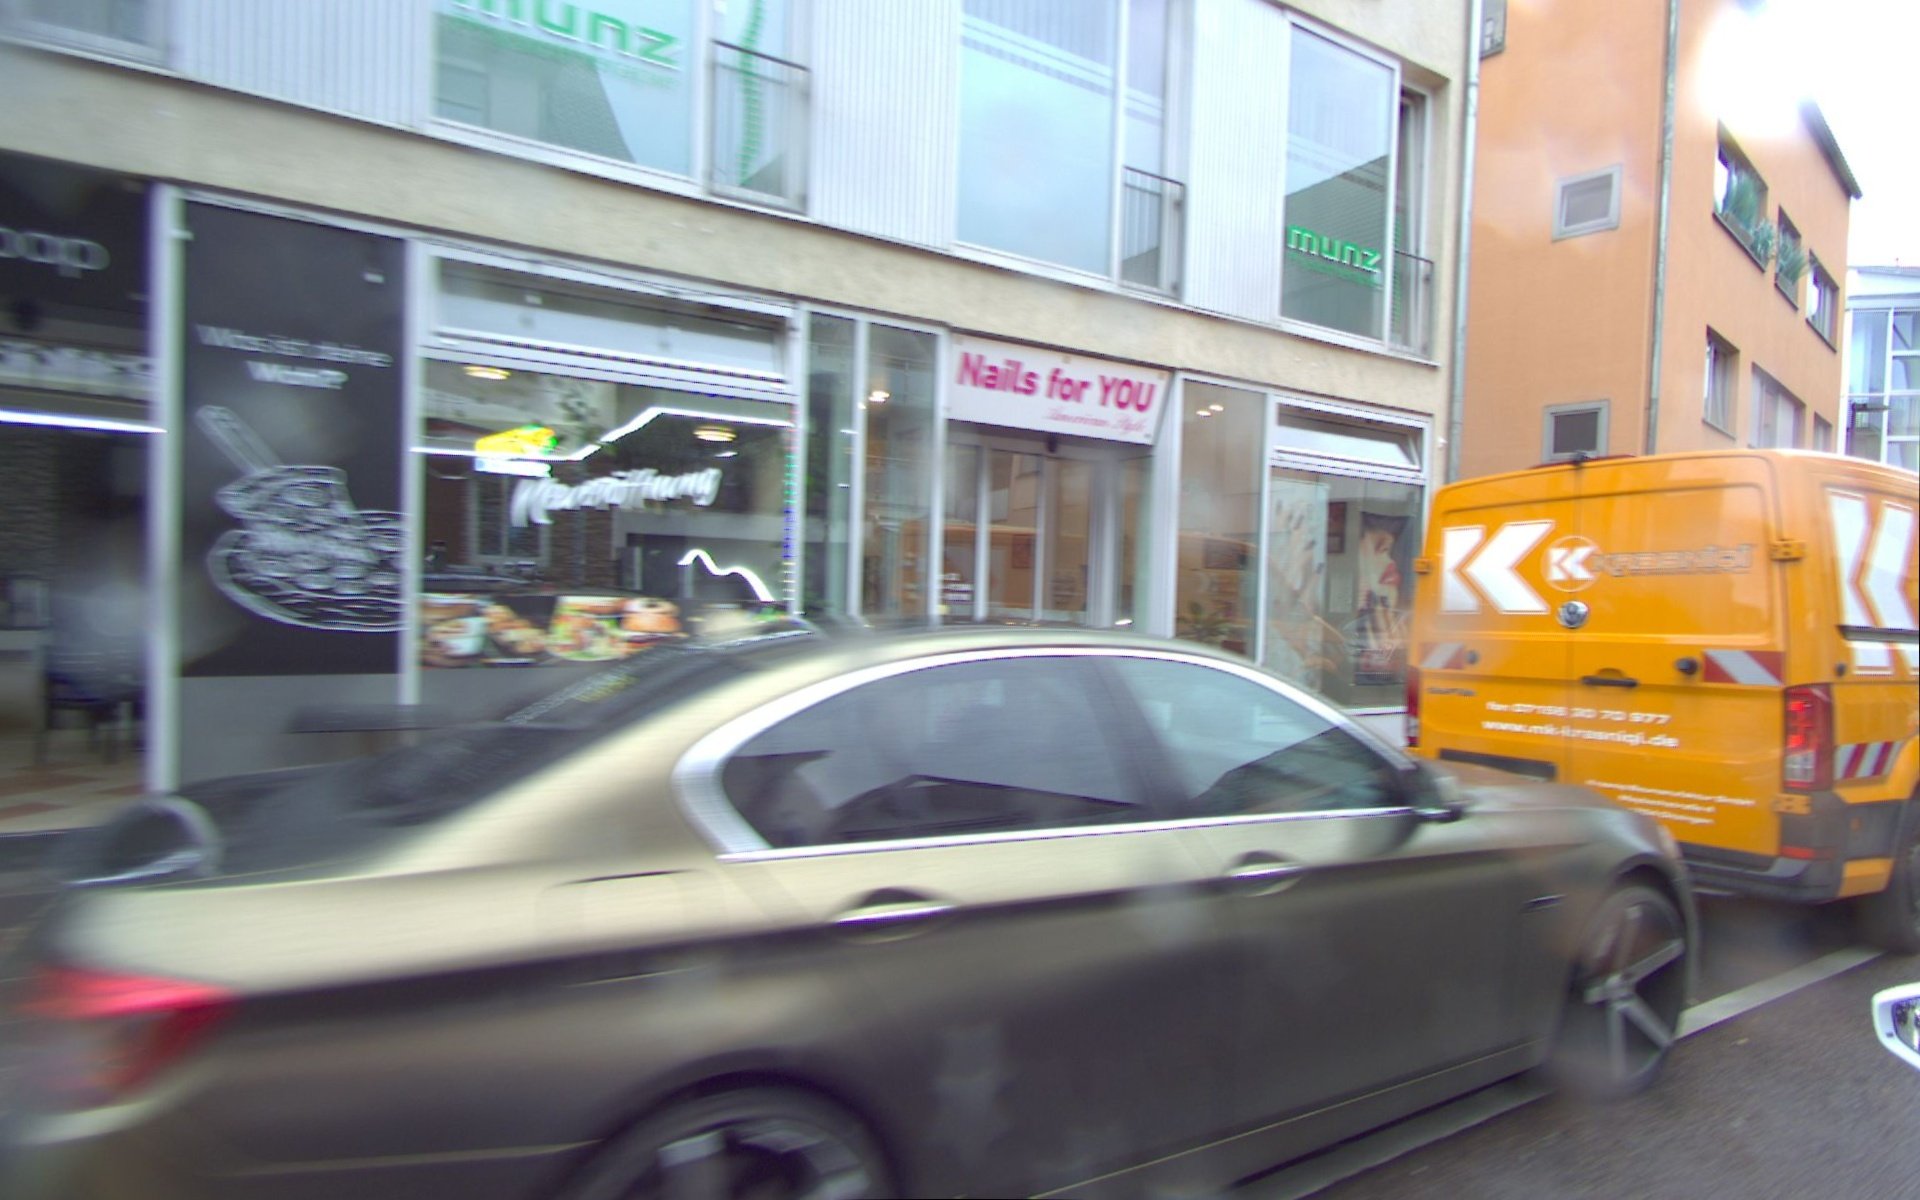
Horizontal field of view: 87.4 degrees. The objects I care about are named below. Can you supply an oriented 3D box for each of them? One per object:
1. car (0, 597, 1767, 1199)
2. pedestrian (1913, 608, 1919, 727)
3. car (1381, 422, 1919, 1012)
[{"bbox_3d":[0.354,0.754,3.070,4.427,1.374,1.748,2,1,-29],"label":"car"},{"bbox_3d":[15.387,1.054,15.359,1.042,1.831,0.664,2,0,-11],"label":"pedestrian"},{"bbox_3d":[5.287,0.506,6.318,5.800,2.269,1.981,2,0,-34],"label":"car"}]
